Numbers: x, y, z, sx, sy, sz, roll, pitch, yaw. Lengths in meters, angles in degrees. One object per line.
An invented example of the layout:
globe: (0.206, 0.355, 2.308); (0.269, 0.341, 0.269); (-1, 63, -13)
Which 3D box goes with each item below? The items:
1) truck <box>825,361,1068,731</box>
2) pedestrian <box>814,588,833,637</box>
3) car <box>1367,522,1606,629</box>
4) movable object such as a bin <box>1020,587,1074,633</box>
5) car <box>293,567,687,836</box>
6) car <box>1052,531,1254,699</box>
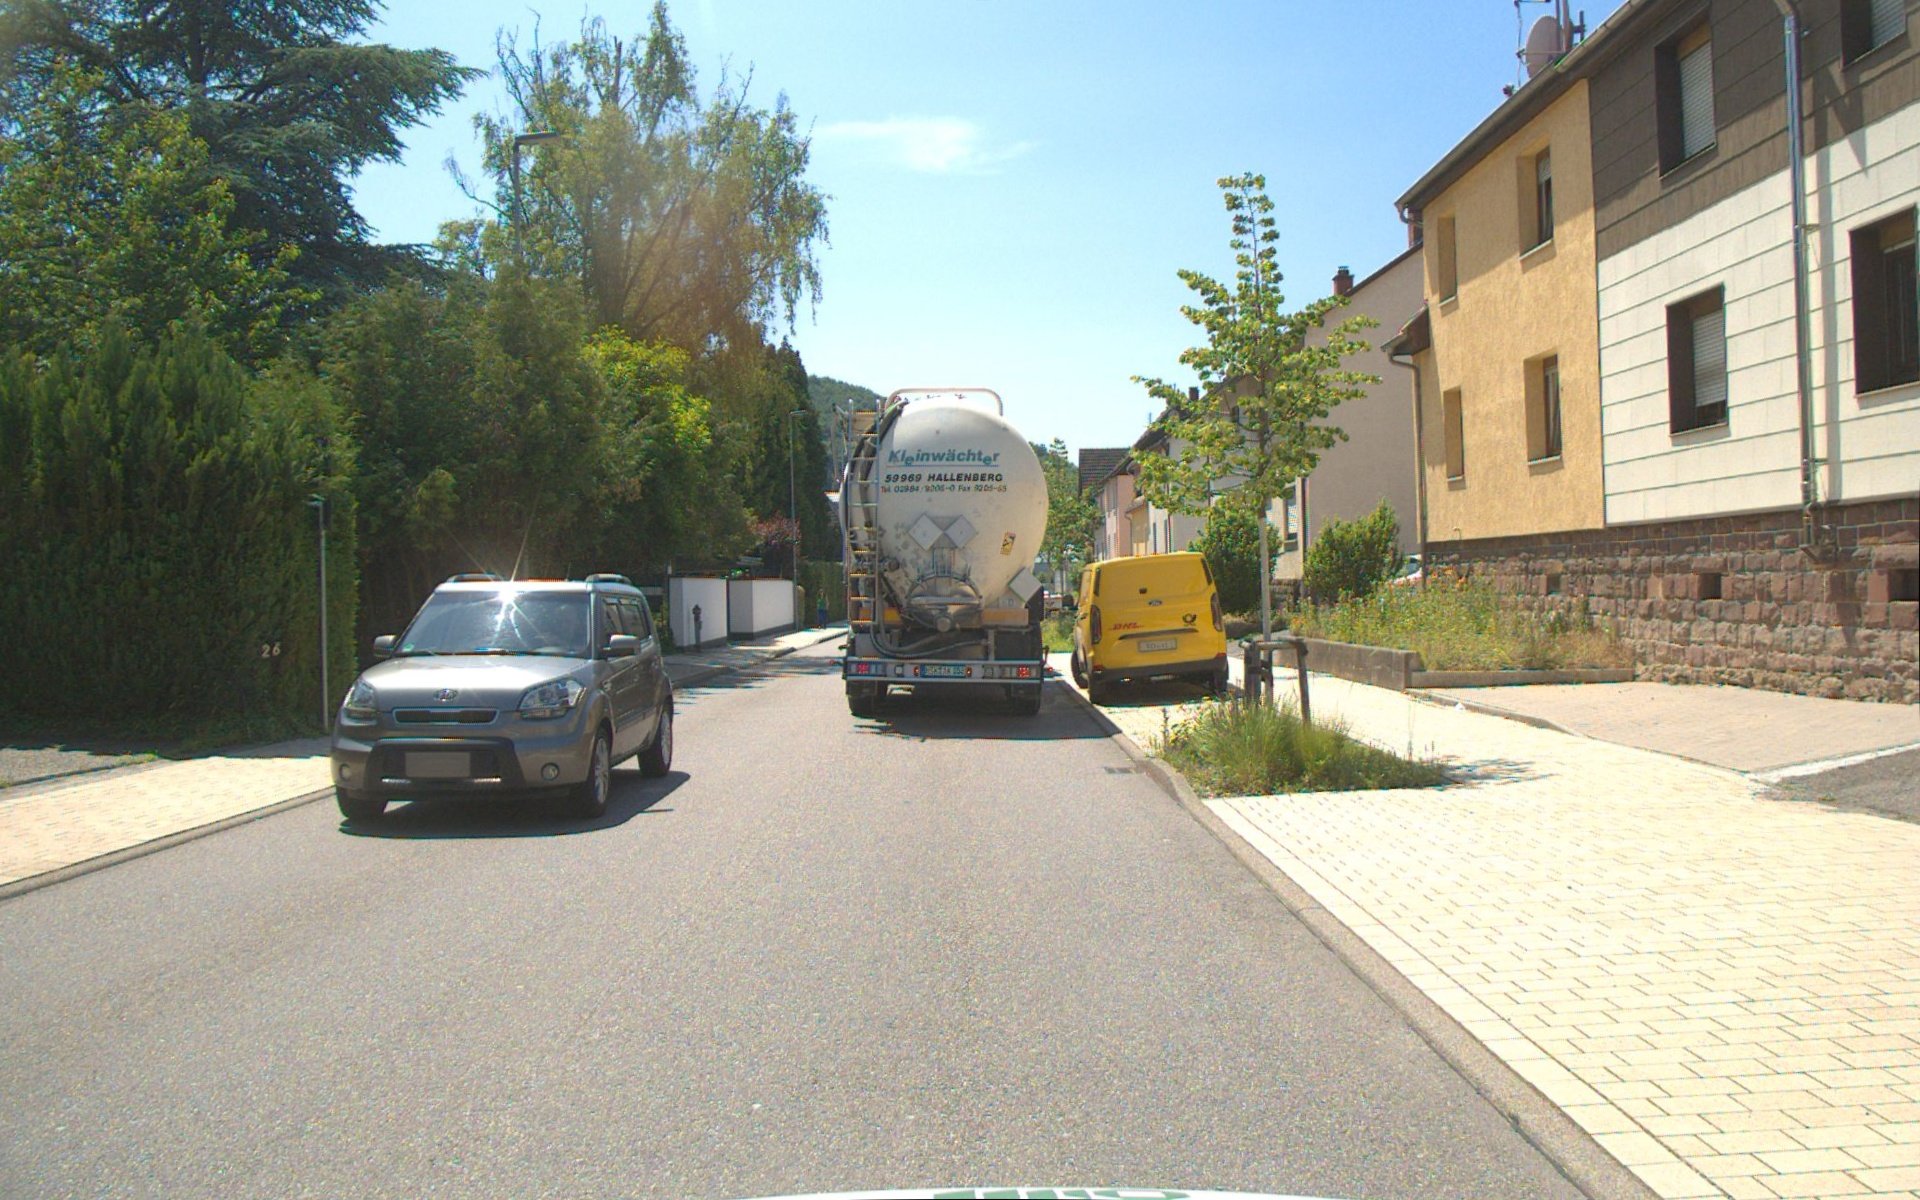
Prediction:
truck: (-0.150, -0.645, 24.032); (2.694, 4.127, 10.889); (0, 0, 0)
pedestrian: (-5.743, 0.510, 69.638); (0.706, 2.049, 0.804); (0, -1, -1)
car: (10.122, -0.471, 31.993); (3.908, 1.705, 1.873); (-5, 0, -2)
movable object such as a bin: (2.851, 0.333, 54.699); (1.539, 1.441, 3.041); (-2, -1, 0)
car: (-3.278, 0.620, 12.370); (1.829, 1.681, 3.948); (0, 1, 0)
car: (2.743, 0.226, 24.986); (2.146, 2.048, 5.621); (-5, -1, -1)
